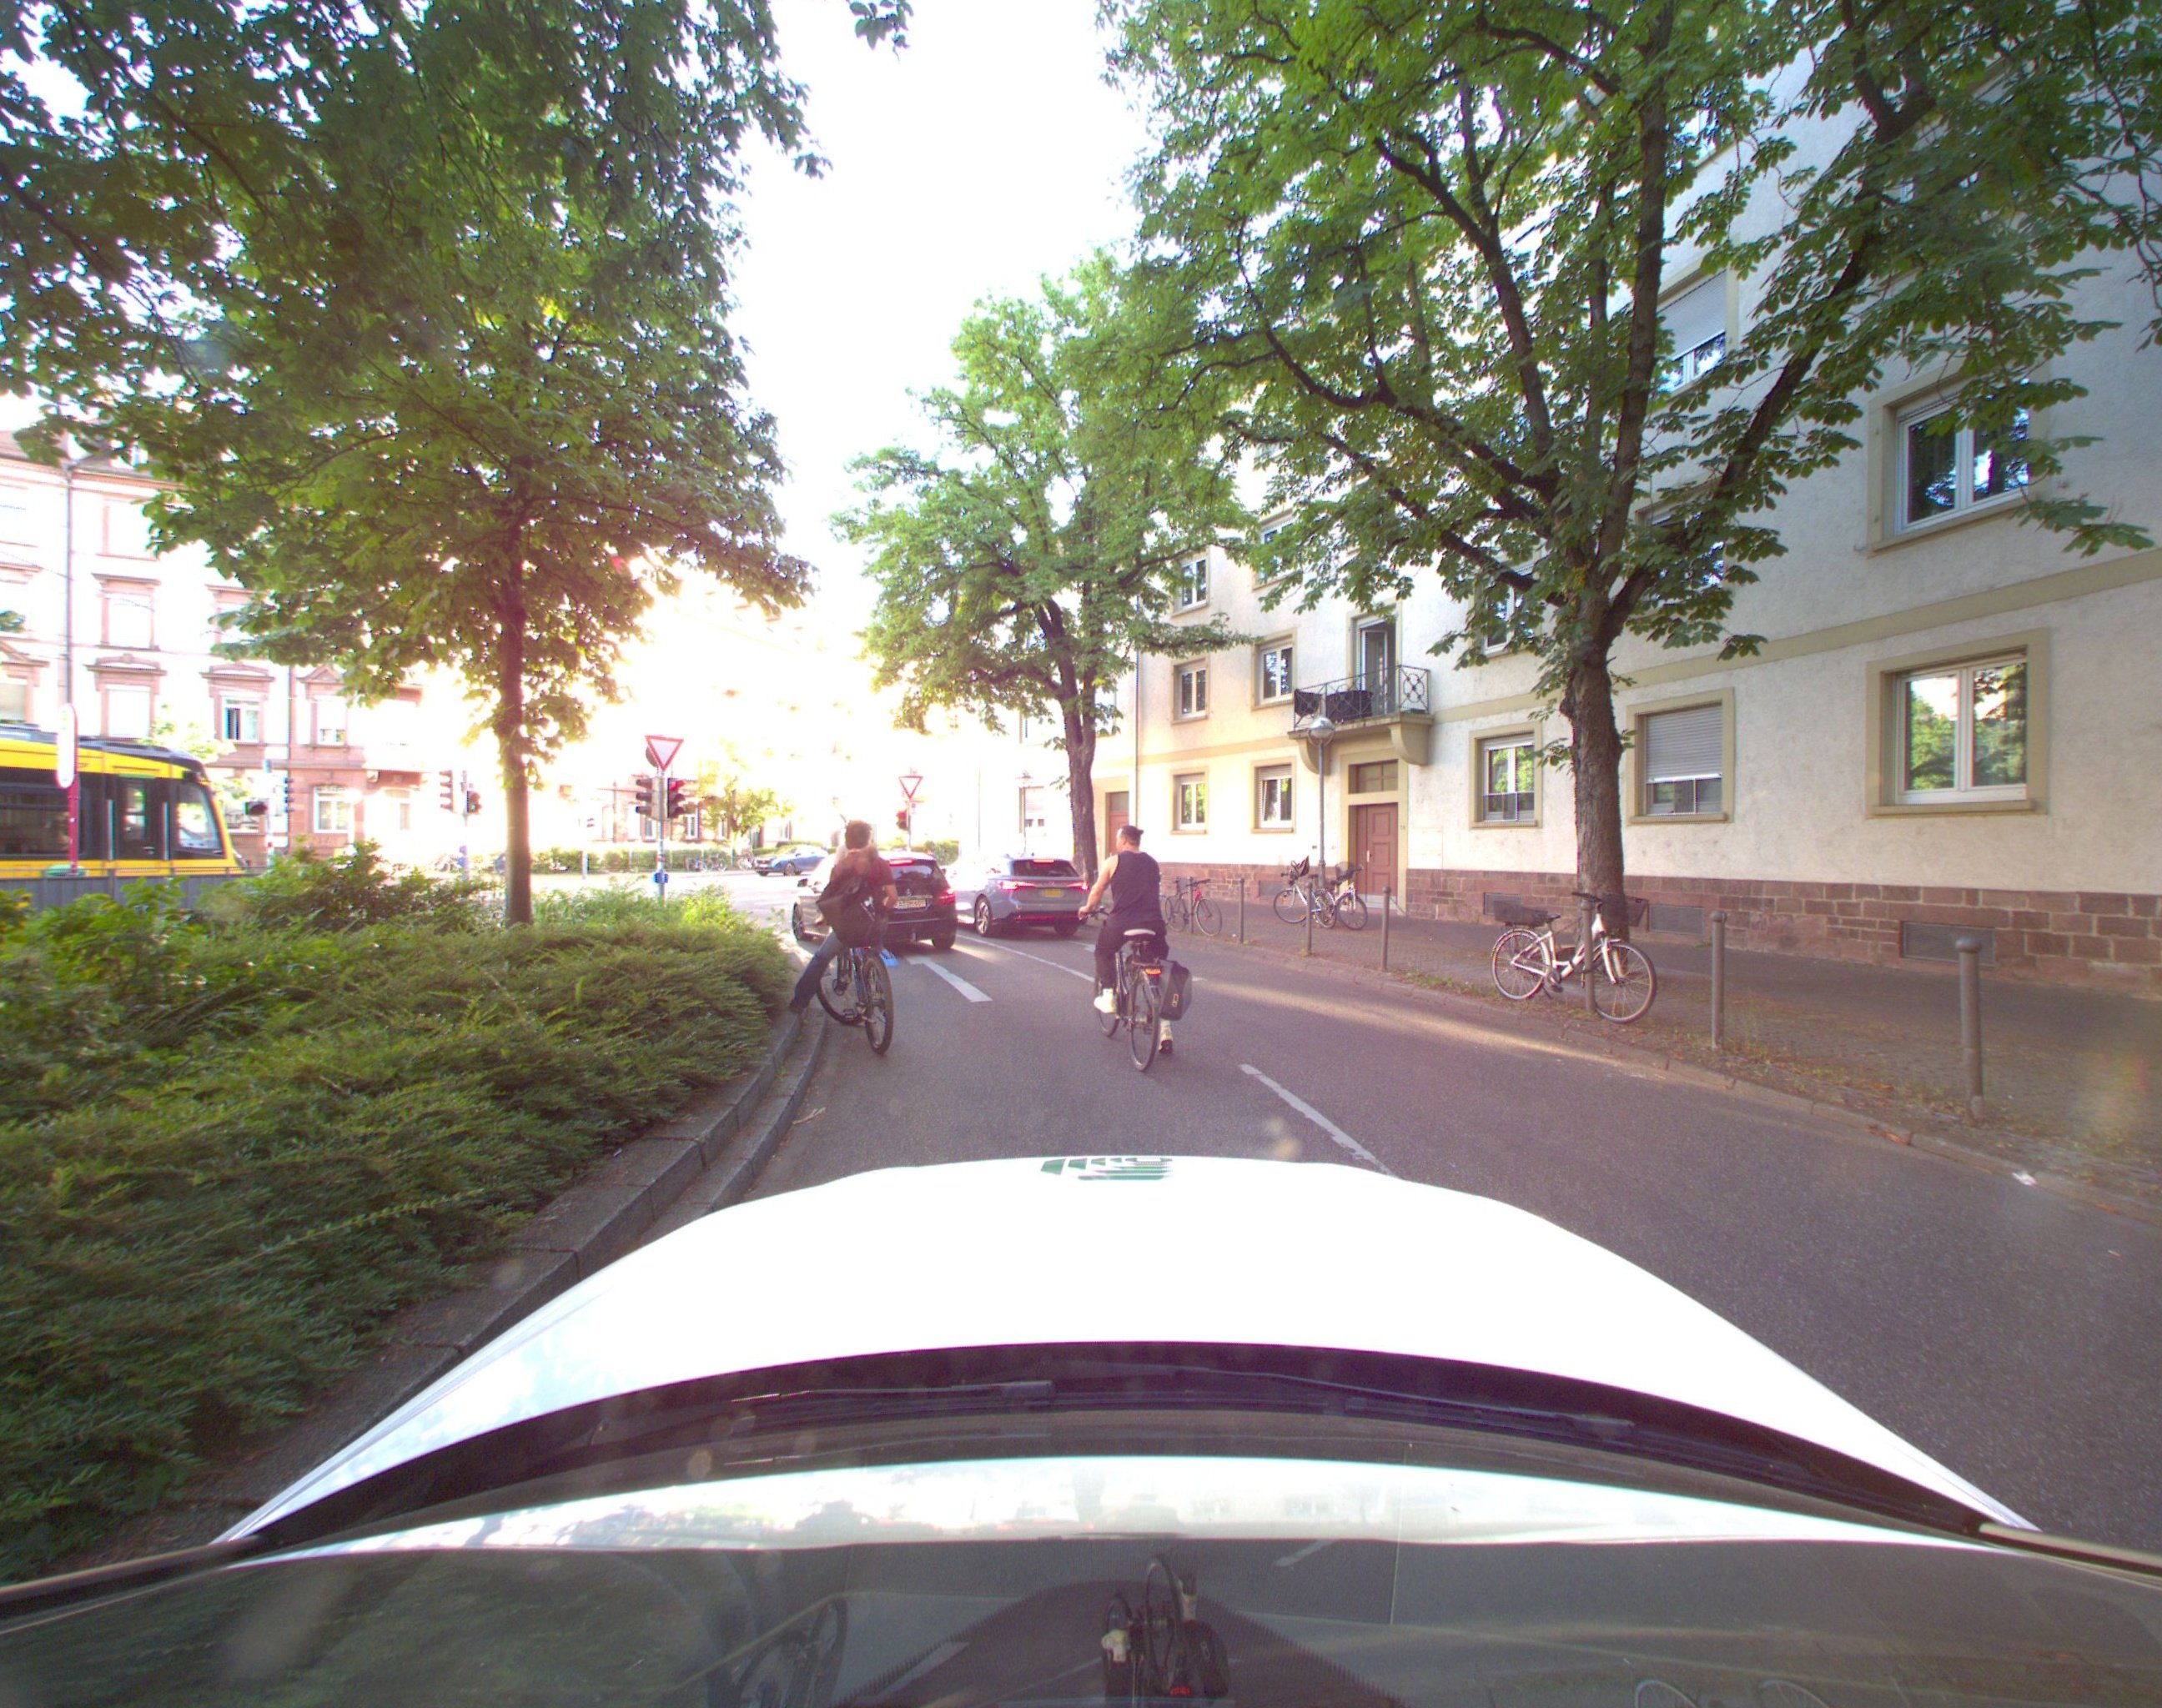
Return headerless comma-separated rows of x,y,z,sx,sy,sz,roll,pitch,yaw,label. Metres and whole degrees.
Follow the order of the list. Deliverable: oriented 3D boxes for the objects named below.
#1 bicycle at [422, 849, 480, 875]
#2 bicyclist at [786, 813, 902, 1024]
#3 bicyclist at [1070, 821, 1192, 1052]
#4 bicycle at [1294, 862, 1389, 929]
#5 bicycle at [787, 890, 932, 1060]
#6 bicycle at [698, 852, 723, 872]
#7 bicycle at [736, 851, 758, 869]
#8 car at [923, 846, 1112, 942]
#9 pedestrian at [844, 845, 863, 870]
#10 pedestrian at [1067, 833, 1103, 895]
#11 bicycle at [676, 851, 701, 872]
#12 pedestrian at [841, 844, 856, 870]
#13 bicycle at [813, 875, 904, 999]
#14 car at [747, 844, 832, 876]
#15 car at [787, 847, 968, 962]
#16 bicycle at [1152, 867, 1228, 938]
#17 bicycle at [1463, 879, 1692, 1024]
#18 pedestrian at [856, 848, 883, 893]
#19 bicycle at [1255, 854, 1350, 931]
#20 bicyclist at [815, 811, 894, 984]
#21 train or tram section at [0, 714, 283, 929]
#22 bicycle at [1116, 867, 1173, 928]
-28.119,0.378,36.379,1.975,1.107,0.438,2,-1,-38,bicycle
-1.955,0.477,6.650,0.711,1.573,0.948,1,0,-29,bicyclist
0.363,0.584,6.392,0.687,1.656,0.985,-1,0,-13,bicyclist
4.720,0.712,14.907,0.669,1.107,1.955,1,0,-17,bicycle
-1.923,0.913,6.860,0.721,1.107,1.948,1,0,-29,bicycle
-20.790,0.429,45.727,0.438,1.107,1.241,1,1,25,bicycle
-19.757,0.348,48.137,0.438,1.038,1.240,1,1,24,bicycle
-1.411,0.680,15.946,1.982,1.585,4.433,2,-1,-29,car
-15.210,0.237,54.502,0.703,1.664,0.904,4,2,36,pedestrian
0.110,0.263,23.439,0.646,1.727,0.881,-3,2,-25,pedestrian
-21.417,0.398,44.438,0.438,1.107,1.241,1,1,25,bicycle
-15.802,0.213,55.341,0.655,1.715,0.640,0,0,32,pedestrian
-2.633,0.870,9.454,0.813,1.184,2.211,0,0,-21,bicycle
-15.530,0.292,43.649,1.926,1.650,4.432,0,0,19,car
-3.471,0.696,13.375,1.802,1.542,3.821,-2,1,-32,car
1.907,0.821,14.489,0.528,1.107,1.728,-3,2,-21,bicycle
4.524,0.824,7.621,0.514,1.095,1.962,-2,1,-18,bicycle
-8.091,0.627,31.167,0.904,1.635,0.721,2,1,-19,pedestrian
4.009,0.655,14.908,0.719,1.277,1.954,-1,1,-18,bicycle
-2.682,0.480,9.587,0.797,1.913,0.938,1,0,-21,bicyclist
-20.227,-0.563,12.138,2.769,3.619,11.857,1,0,19,train or tram section
1.236,0.820,16.090,0.482,1.063,1.625,-2,2,-20,bicycle
